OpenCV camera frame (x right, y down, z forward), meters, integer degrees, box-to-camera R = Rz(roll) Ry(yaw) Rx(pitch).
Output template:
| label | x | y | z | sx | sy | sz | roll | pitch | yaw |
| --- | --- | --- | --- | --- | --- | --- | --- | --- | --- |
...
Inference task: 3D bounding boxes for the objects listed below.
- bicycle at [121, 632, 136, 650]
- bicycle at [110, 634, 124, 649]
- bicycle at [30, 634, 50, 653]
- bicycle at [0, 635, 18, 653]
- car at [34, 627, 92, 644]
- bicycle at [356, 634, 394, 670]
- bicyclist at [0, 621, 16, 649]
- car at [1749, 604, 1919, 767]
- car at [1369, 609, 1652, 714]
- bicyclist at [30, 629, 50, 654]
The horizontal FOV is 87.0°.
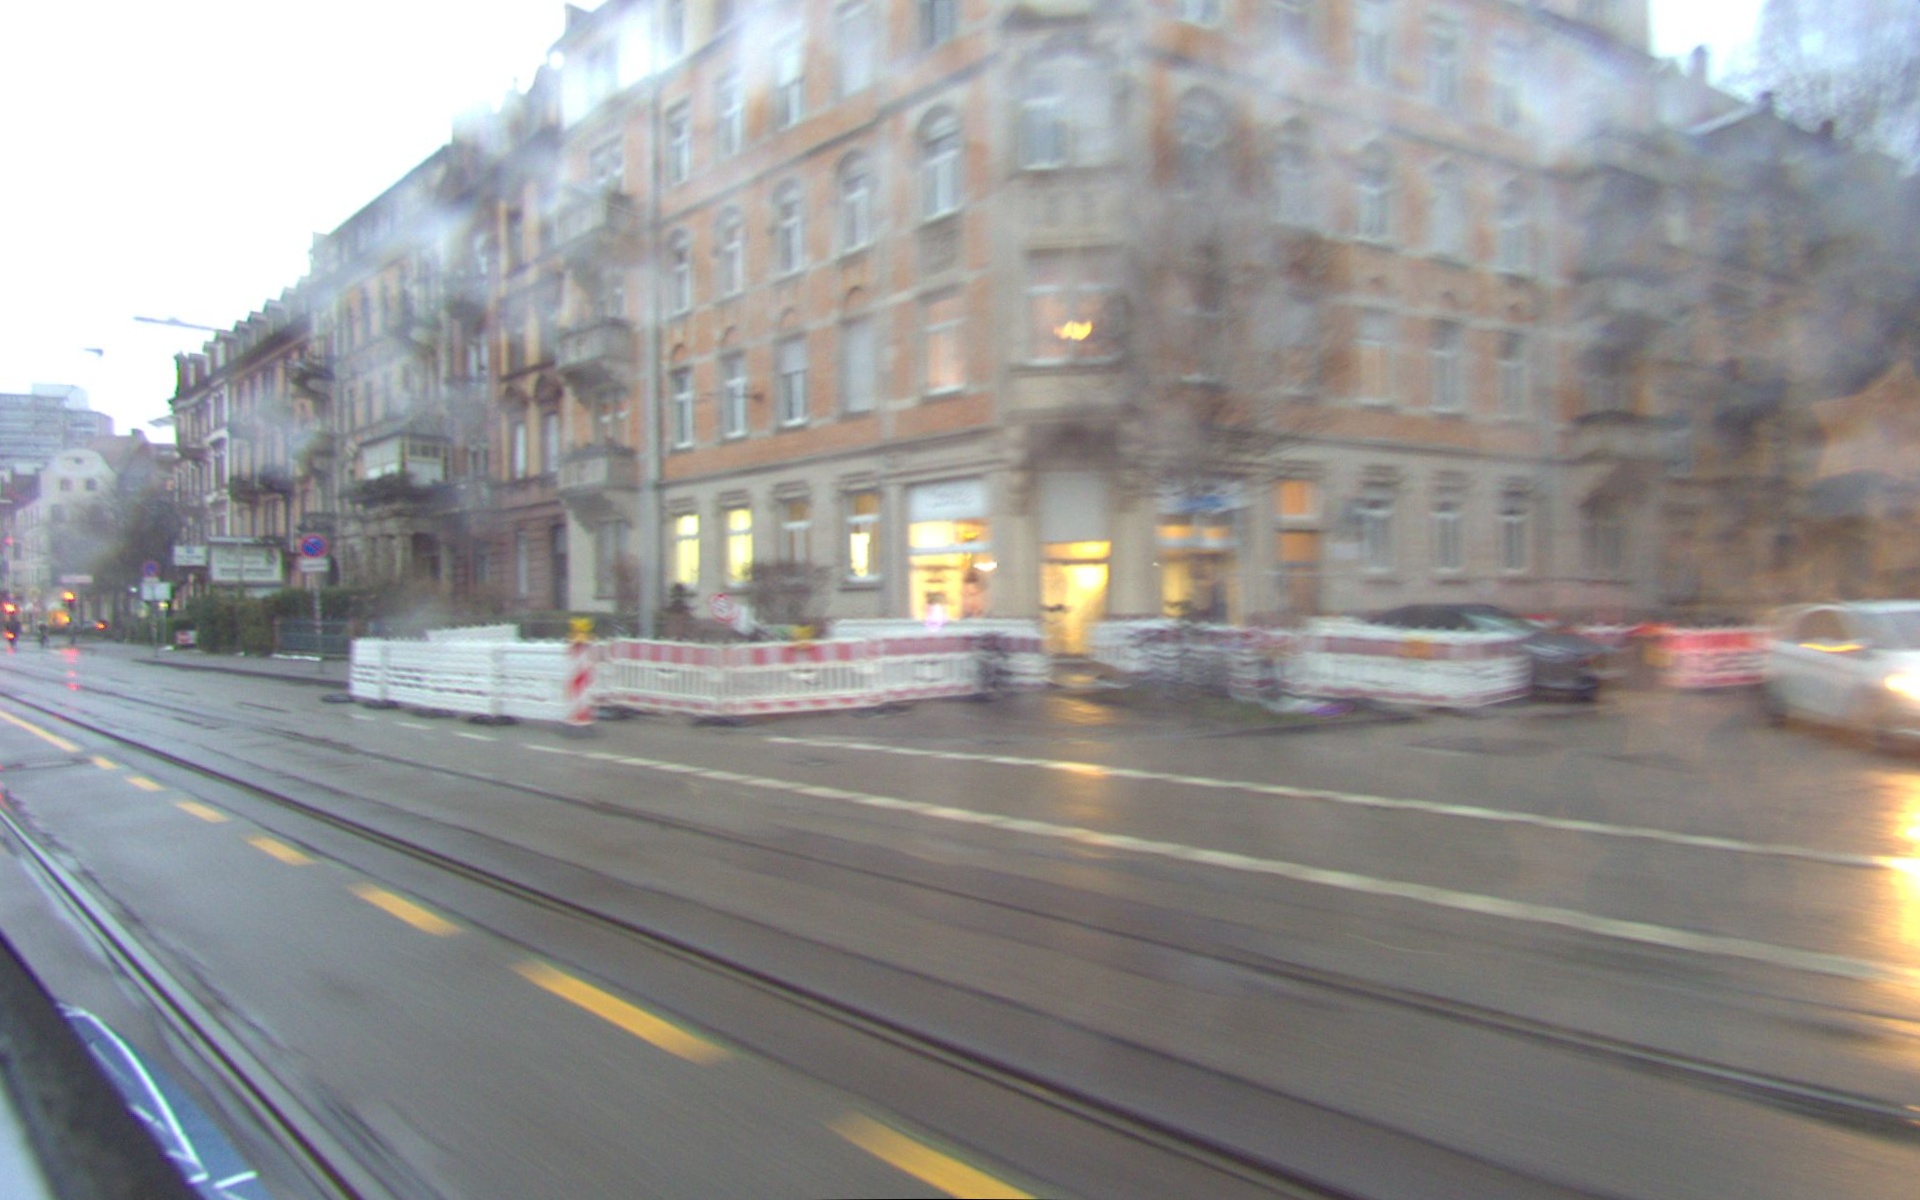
| label | x | y | z | sx | sy | sz | roll | pitch | yaw |
| --- | --- | --- | --- | --- | --- | --- | --- | --- | --- |
| bicycle | -46.273 | 2.272 | 56.311 | 1.849 | 1.014 | 0.412 | -2 | -1 | 43 |
| bicycle | -49.728 | 2.427 | 59.692 | 1.849 | 0.869 | 0.395 | -2 | -1 | 43 |
| bicycle | -52.689 | 2.477 | 57.938 | 1.802 | 1.014 | 0.674 | -2 | -1 | 42 |
| bicycle | -56.057 | 2.581 | 59.615 | 1.933 | 0.979 | 0.671 | -2 | -1 | 42 |
| car | -89.362 | 3.555 | 100.816 | 4.277 | 1.595 | 1.939 | 0 | -1 | -42 |
| bicycle | -15.717 | 1.386 | 27.169 | 1.684 | 0.922 | 0.260 | -2 | 4 | 41 |
| bicyclist | -56.145 | 2.078 | 59.670 | 0.765 | 1.628 | 0.676 | -2 | -1 | 42 |
| car | 10.537 | 0.810 | 10.843 | 1.984 | 1.537 | 4.147 | -1 | -1 | 19 |
| car | 9.112 | 0.950 | 17.143 | 1.698 | 1.542 | 4.013 | 0 | -1 | -22 |
| bicyclist | -52.614 | 2.361 | 57.869 | 0.944 | 1.374 | 0.697 | -1 | 1 | 42 |
